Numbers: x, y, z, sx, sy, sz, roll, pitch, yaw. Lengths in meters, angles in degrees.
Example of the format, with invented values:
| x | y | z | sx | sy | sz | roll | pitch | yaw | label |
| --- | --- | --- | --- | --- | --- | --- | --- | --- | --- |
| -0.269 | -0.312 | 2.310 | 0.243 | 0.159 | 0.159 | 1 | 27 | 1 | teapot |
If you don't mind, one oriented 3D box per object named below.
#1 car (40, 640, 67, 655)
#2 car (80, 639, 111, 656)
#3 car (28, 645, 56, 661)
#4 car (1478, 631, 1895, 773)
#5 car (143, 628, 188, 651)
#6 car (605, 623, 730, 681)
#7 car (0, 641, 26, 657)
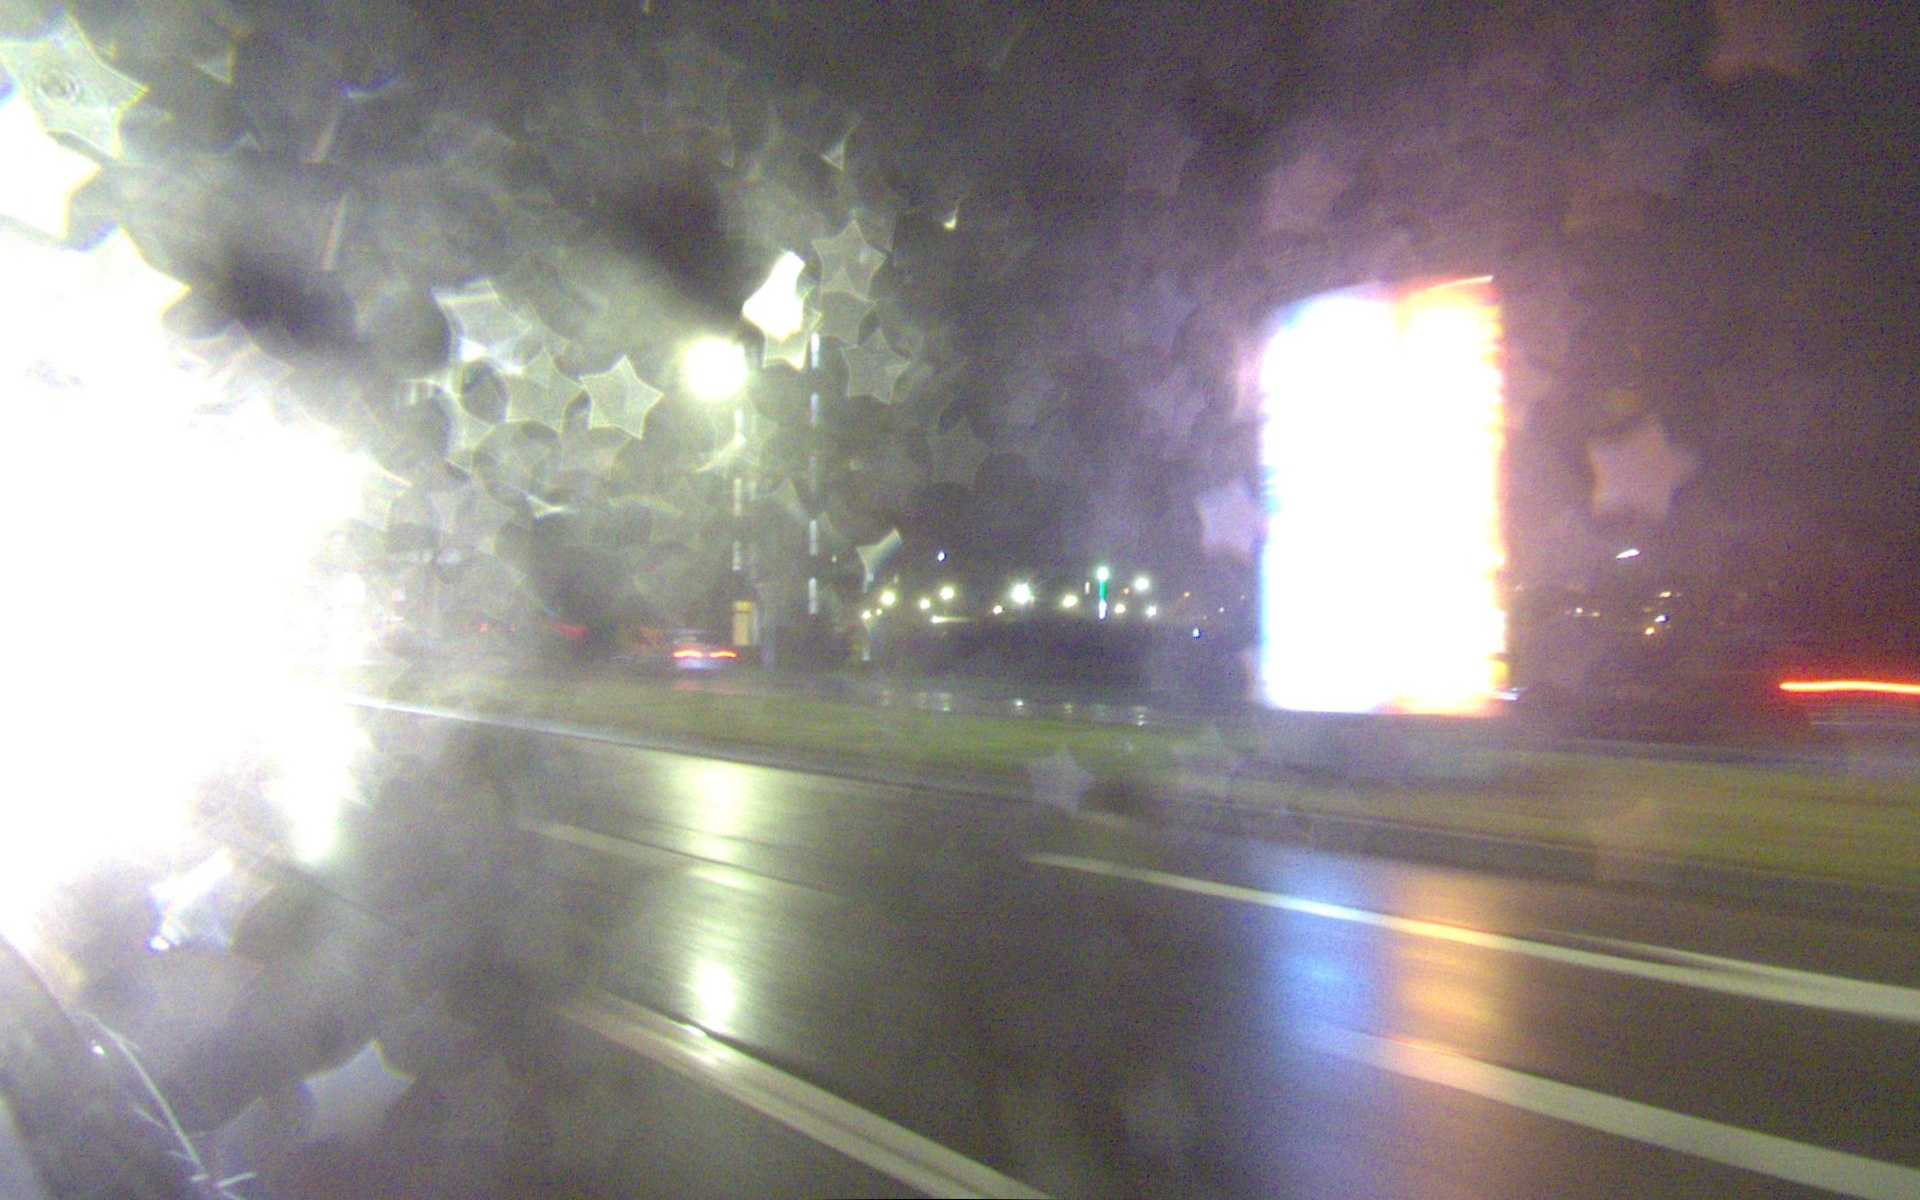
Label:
| x | y | z | sx | sy | sz | roll | pitch | yaw | label |
| --- | --- | --- | --- | --- | --- | --- | --- | --- | --- |
| -104.167 | 5.419 | 116.278 | 4.365 | 1.605 | 1.823 | -2 | -2 | 43 | car |
| -84.685 | 4.655 | 99.089 | 4.365 | 1.605 | 1.823 | -2 | -2 | 43 | car |
| -98.310 | 5.611 | 108.406 | 4.365 | 1.605 | 1.823 | -2 | -2 | 43 | car |
| 8.929 | 1.158 | 12.737 | 3.995 | 1.475 | 1.811 | -2 | -2 | 39 | car |
| -63.296 | 3.128 | 80.582 | 4.545 | 1.697 | 2.003 | -2 | -2 | 41 | car |
| -9.556 | 1.656 | 32.939 | 4.438 | 1.726 | 1.810 | -2 | -2 | 41 | car |
| -91.190 | 4.670 | 97.232 | 4.365 | 1.498 | 1.823 | -2 | -2 | 43 | car |
